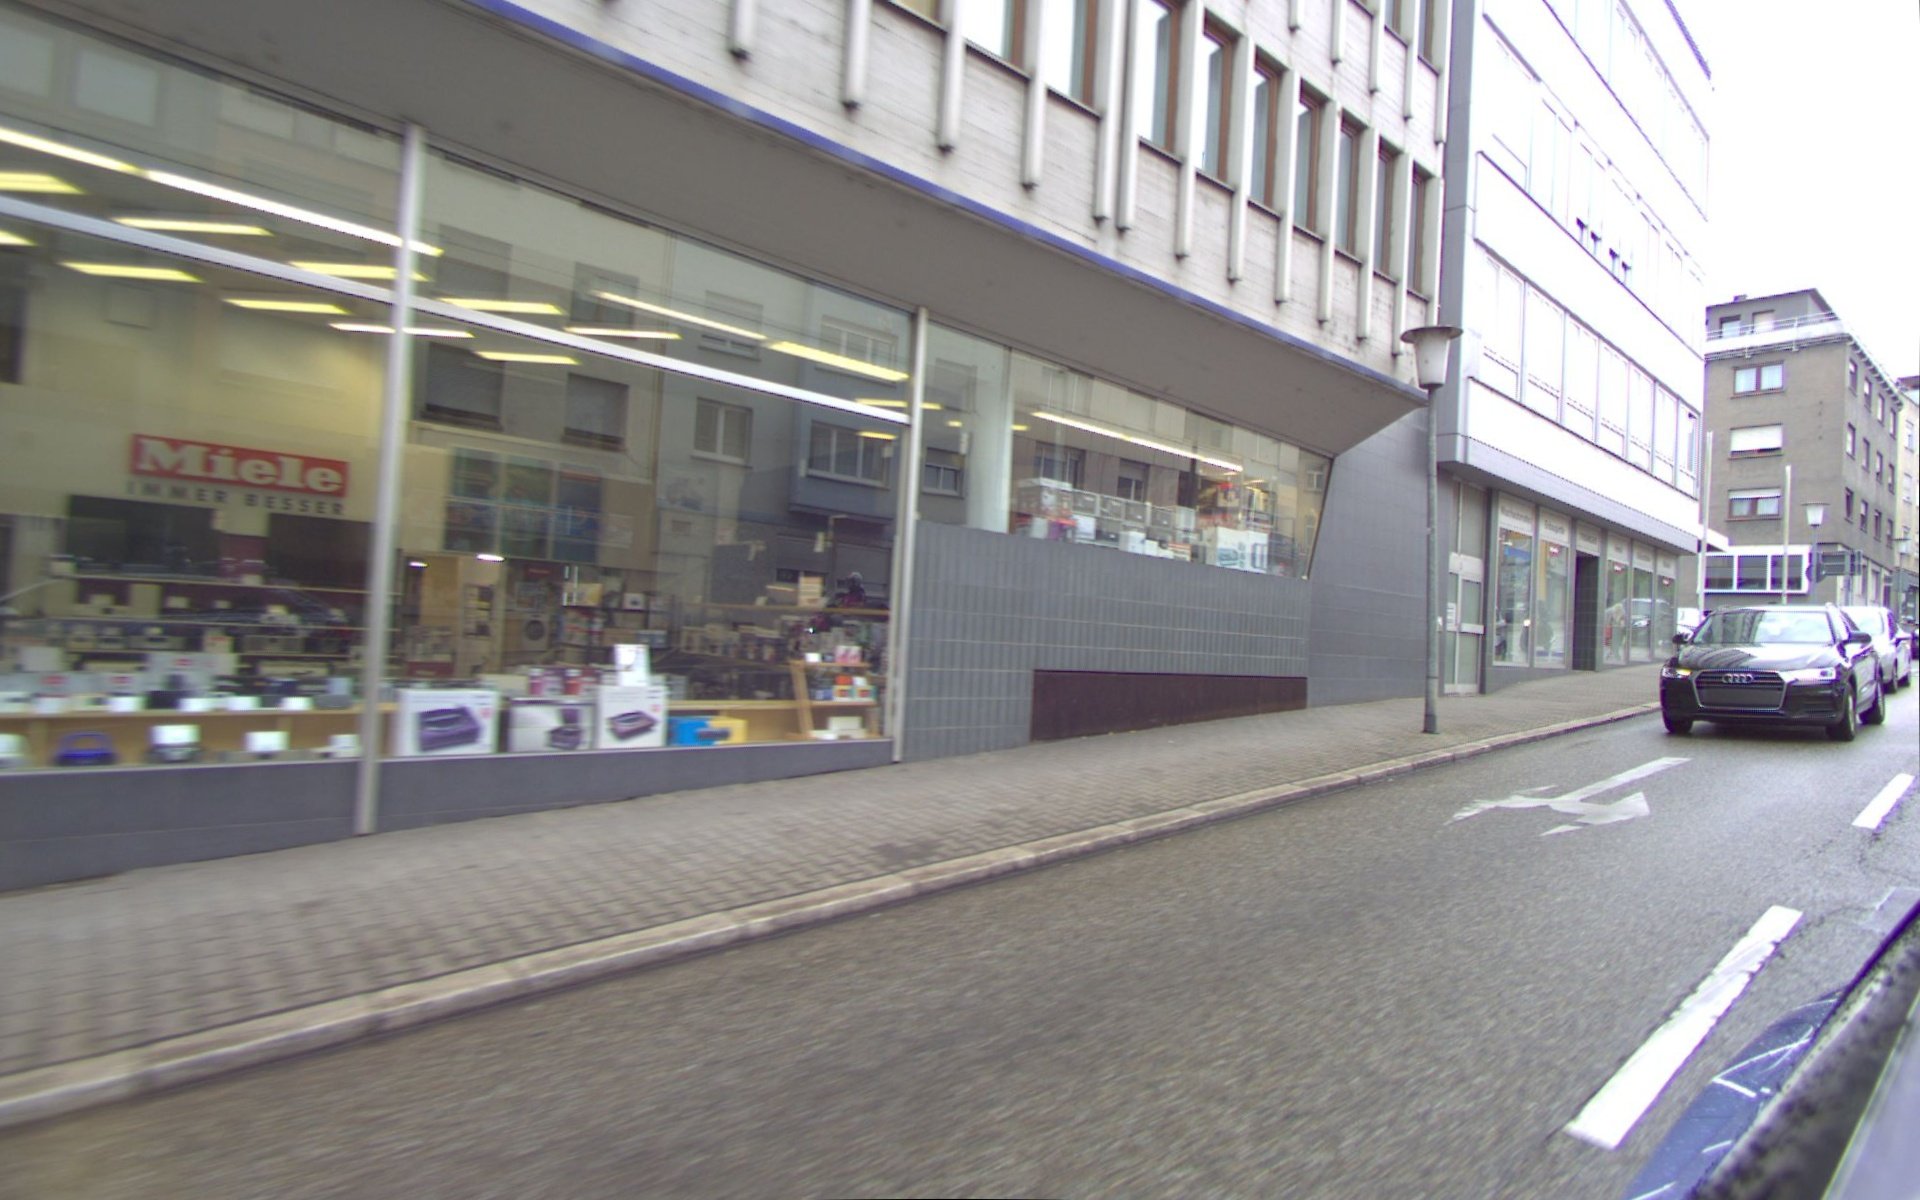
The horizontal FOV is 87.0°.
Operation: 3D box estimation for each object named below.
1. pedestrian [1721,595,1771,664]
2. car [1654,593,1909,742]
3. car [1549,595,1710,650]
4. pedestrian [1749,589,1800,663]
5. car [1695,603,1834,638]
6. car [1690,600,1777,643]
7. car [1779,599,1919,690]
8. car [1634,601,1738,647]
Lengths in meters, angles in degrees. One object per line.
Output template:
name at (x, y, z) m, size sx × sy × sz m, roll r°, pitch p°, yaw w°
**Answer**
pedestrian at (18.868, 0.690, 24.299) m, size 0.876 × 1.570 × 0.766 m, roll 0°, pitch 3°, yaw -44°
car at (10.478, 0.732, 12.802) m, size 4.129 × 1.580 × 1.825 m, roll 0°, pitch -2°, yaw -42°
car at (20.232, 0.636, 30.738) m, size 3.971 × 1.549 × 1.742 m, roll 1°, pitch 0°, yaw 33°
pedestrian at (20.085, 0.623, 24.952) m, size 1.102 × 1.726 × 0.784 m, roll 0°, pitch 3°, yaw -45°
car at (36.087, 0.918, 45.504) m, size 1.963 × 1.523 × 4.532 m, roll 1°, pitch -1°, yaw -37°
car at (29.458, 0.781, 38.514) m, size 4.359 × 1.531 × 1.791 m, roll 0°, pitch 0°, yaw -41°
car at (17.213, 0.814, 19.445) m, size 1.826 × 1.561 × 4.183 m, roll -4°, pitch -3°, yaw 45°
car at (25.074, 0.789, 34.897) m, size 4.532 × 1.433 × 1.793 m, roll 1°, pitch 1°, yaw -39°
